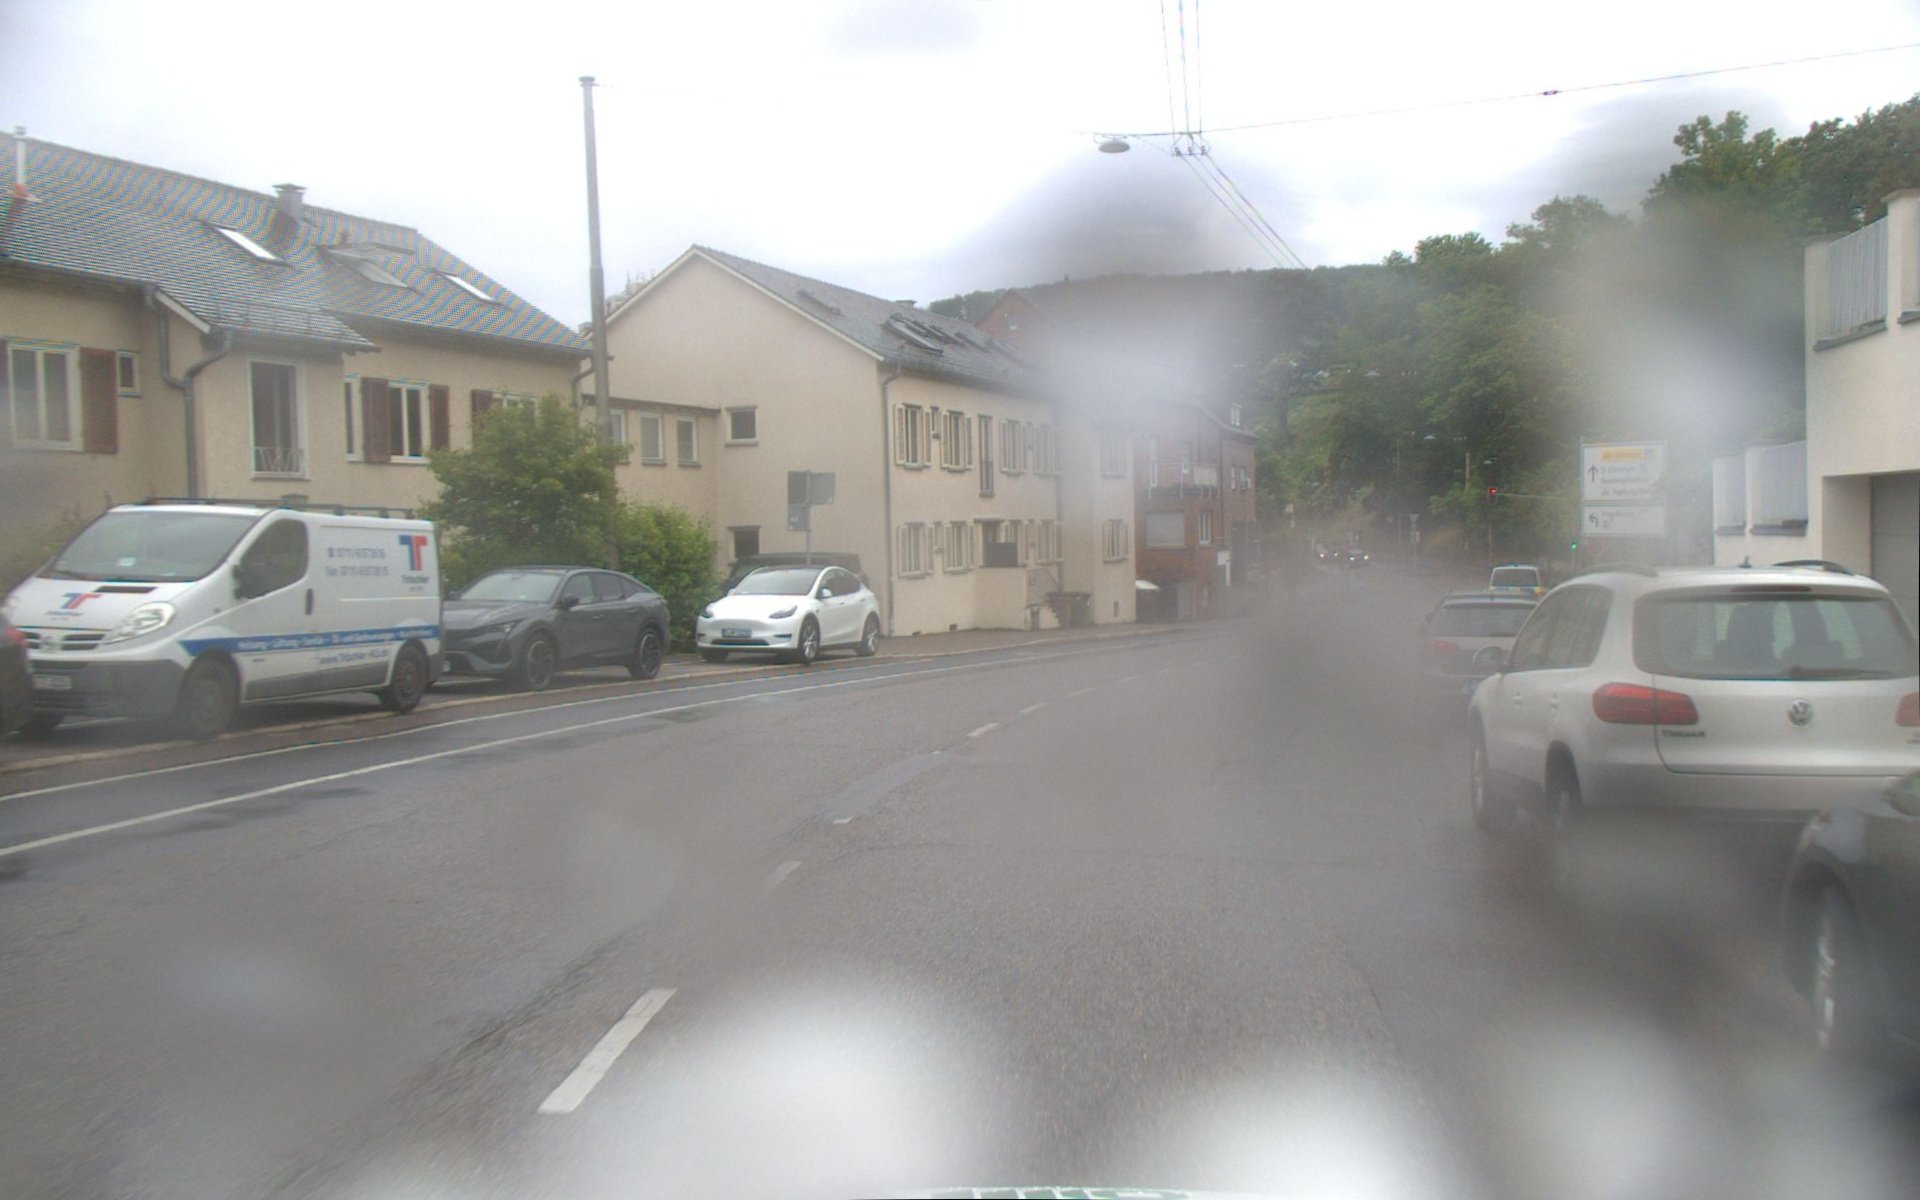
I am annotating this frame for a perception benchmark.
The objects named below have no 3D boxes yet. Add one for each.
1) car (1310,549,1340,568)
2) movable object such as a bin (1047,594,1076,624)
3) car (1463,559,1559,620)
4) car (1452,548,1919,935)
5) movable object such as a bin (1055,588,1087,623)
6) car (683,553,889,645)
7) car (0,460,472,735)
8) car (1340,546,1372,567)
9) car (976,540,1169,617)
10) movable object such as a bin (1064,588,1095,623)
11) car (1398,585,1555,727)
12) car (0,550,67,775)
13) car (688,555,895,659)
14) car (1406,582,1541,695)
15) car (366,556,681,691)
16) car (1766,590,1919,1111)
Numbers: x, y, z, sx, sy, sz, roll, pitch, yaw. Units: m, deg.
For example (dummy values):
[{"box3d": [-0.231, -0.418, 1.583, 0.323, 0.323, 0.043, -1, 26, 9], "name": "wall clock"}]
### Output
[{"box3d": [31.517, -3.607, 143.018, 1.705, 1.577, 4.001, -2, 1, 1], "name": "car"}, {"box3d": [3.047, 0.263, 49.576, 0.659, 0.874, 0.708, 1, 0, 22], "name": "movable object such as a bin"}, {"box3d": [18.848, -0.387, 56.455, 2.266, 1.973, 4.317, 0, 1, 30], "name": "car"}, {"box3d": [3.997, 0.597, 9.318, 1.765, 1.678, 4.214, 0, 0, 8], "name": "car"}, {"box3d": [3.379, 0.165, 50.318, 0.765, 1.065, 0.708, 1, 0, 22], "name": "movable object such as a bin"}, {"box3d": [-4.054, -0.036, 38.674, 4.394, 2.048, 1.889, 0, 1, 19], "name": "car"}, {"box3d": [-6.643, -0.045, 15.331, 1.809, 2.115, 5.025, 1, 0, 13], "name": "car"}, {"box3d": [32.722, -3.562, 136.790, 1.705, 1.577, 4.001, -4, 1, 2], "name": "car"}, {"box3d": [3.984, -0.746, 58.895, 6.518, 2.598, 2.167, 0, -1, 22], "name": "car"}, {"box3d": [3.694, 0.172, 51.200, 0.765, 1.065, 0.738, 1, 0, 22], "name": "movable object such as a bin"}, {"box3d": [6.183, 0.574, 19.856, 1.606, 1.461, 4.176, 0, 1, 17], "name": "car"}, {"box3d": [-7.480, 0.416, 9.553, 1.769, 1.502, 4.526, 1, 0, 7], "name": "car"}, {"box3d": [-2.827, 0.103, 28.945, 1.888, 1.659, 4.680, 1, 0, 18], "name": "car"}, {"box3d": [7.799, 0.508, 24.907, 1.752, 1.522, 4.707, 0, 0, 19], "name": "car"}, {"box3d": [-5.365, 0.245, 21.028, 1.770, 1.502, 4.525, 1, 0, 17], "name": "car"}, {"box3d": [3.531, 0.734, 3.712, 1.643, 1.509, 4.203, 1, 0, 4], "name": "car"}]
